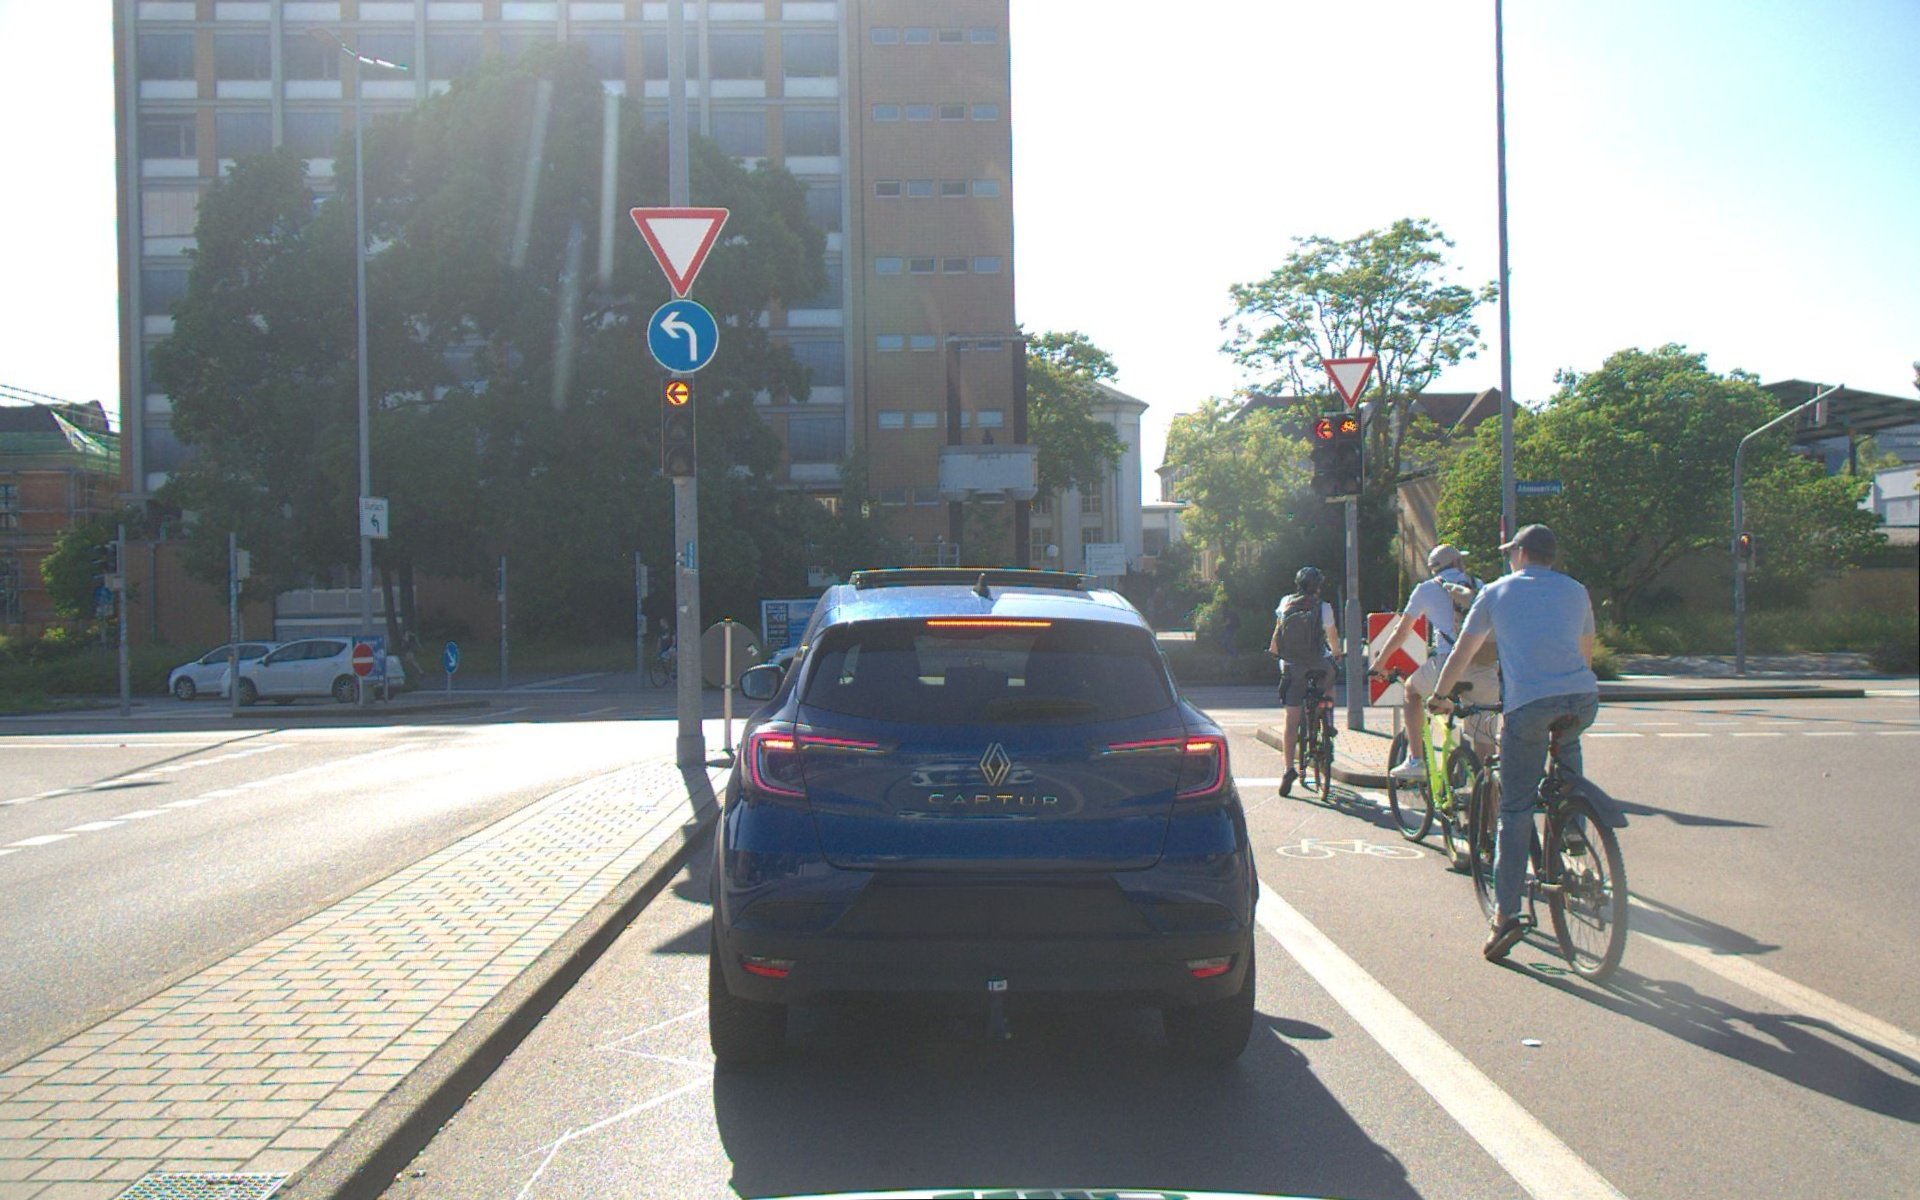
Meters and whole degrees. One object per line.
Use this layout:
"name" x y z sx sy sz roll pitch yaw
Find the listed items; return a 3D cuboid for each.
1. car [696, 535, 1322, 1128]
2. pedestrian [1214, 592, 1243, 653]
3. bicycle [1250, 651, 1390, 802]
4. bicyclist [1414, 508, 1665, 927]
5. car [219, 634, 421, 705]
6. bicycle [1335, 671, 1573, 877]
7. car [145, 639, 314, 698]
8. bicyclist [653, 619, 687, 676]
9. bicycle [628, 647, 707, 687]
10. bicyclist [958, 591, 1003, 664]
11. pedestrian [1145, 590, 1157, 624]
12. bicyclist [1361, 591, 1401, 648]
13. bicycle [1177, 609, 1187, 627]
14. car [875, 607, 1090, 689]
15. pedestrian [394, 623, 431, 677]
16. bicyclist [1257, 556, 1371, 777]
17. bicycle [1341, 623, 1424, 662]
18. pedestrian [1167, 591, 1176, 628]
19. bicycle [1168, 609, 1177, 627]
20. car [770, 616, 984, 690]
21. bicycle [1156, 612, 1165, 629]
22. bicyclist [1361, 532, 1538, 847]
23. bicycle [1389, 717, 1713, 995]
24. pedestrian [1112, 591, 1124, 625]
"car" 0.065 0.660 6.687 1.767 1.660 3.998 1 0 -3
"pedestrian" 7.324 0.618 45.065 0.721 1.631 0.599 -1 0 12
"bicycle" 2.765 0.936 12.929 0.723 1.012 2.174 1 0 3
"bicyclist" 2.512 0.482 7.276 0.736 1.698 1.016 1 0 0
"car" -14.039 1.510 36.400 3.754 1.460 1.744 -1 0 8
"bicycle" 2.875 0.977 9.850 0.646 1.020 1.967 1 0 -6
"car" -19.036 1.781 43.163 3.754 1.460 1.744 -1 -2 15
"bicyclist" -7.666 1.241 43.651 0.728 1.466 0.593 -1 0 -27
"bicycle" -7.714 1.765 43.625 1.982 0.981 0.593 -1 0 -28
"bicyclist" 0.551 0.723 44.059 1.078 1.899 0.653 -1 1 10
"pedestrian" 10.565 0.381 91.374 0.599 1.888 0.467 -1 0 5
"bicyclist" 11.017 0.509 43.289 0.916 1.454 0.599 -1 0 8
"bicycle" 12.689 1.033 94.594 0.397 0.990 1.684 1 0 3
"car" 0.506 1.004 35.178 4.279 1.660 1.846 -1 0 12
"pedestrian" -16.828 1.544 50.847 0.841 1.598 0.560 -4 0 11
"bicyclist" 2.764 0.501 12.981 0.711 1.657 0.969 1 0 3
"bicycle" 11.094 1.123 43.440 2.032 0.981 0.599 -1 0 8
"pedestrian" 11.835 0.540 92.567 0.465 2.049 0.468 -1 0 5
"bicycle" 12.164 1.024 94.573 0.397 0.990 1.684 1 0 3
"car" -1.932 1.248 39.128 4.720 1.660 1.846 -1 0 10
"bicycle" 11.413 1.156 94.193 0.397 0.990 1.684 1 0 3
"bicyclist" 2.886 0.509 9.847 0.633 1.769 1.065 1 0 -6
"bicycle" 2.506 1.045 7.279 0.725 0.911 1.978 1 0 0
"pedestrian" 8.707 0.429 91.066 0.611 1.888 0.563 -1 0 1
